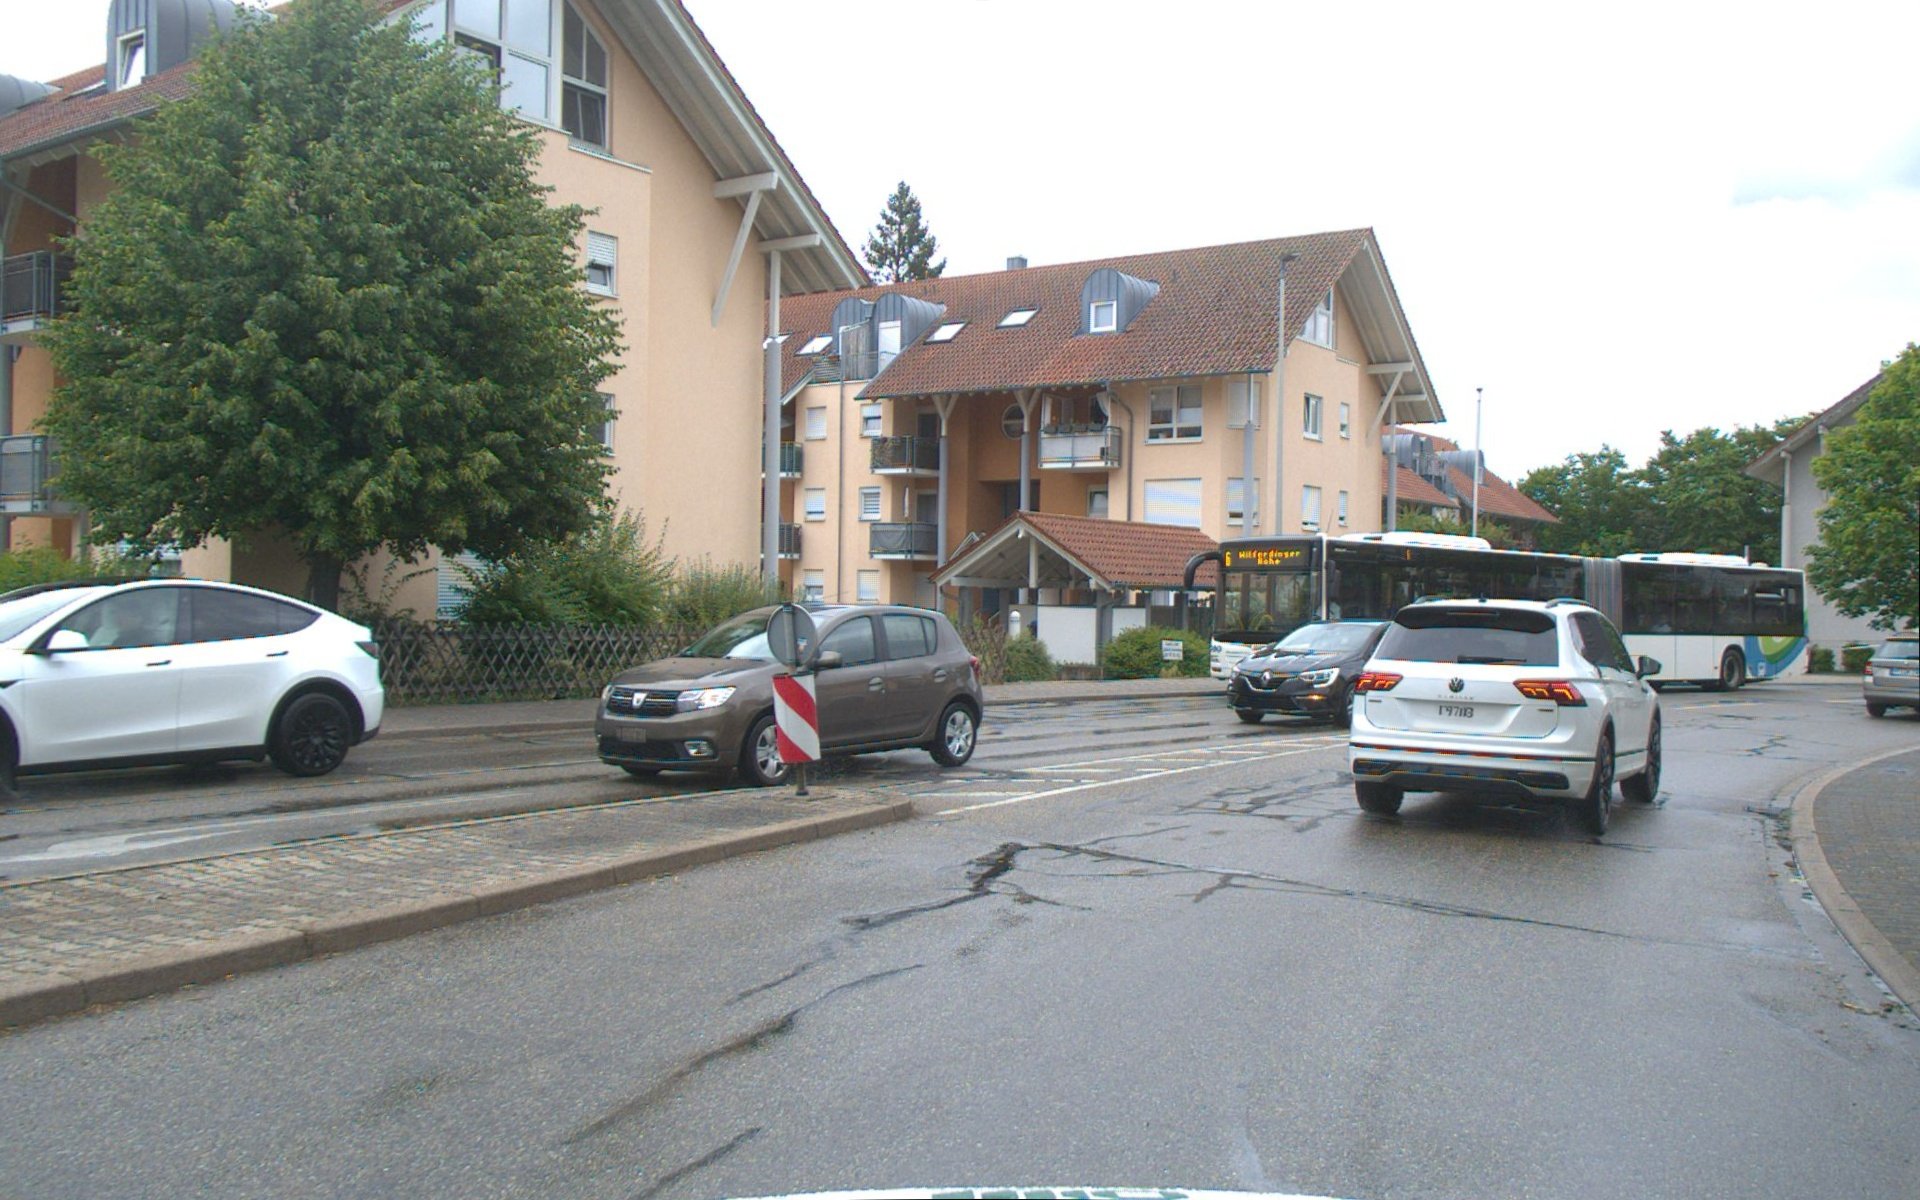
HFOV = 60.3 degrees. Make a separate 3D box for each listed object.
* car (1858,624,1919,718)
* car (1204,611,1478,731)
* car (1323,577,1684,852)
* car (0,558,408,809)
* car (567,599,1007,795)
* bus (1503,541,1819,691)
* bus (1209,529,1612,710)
[{"bbox_3d":[17.409,1.285,29.038,3.968,1.536,1.743,3,-1,-44],"label":"car"},{"bbox_3d":[5.471,0.943,23.461,1.924,1.546,4.145,-1,-1,44],"label":"car"},{"bbox_3d":[4.536,0.791,13.344,1.885,1.752,4.256,3,1,30],"label":"car"},{"bbox_3d":[-6.875,0.593,13.066,1.914,1.755,4.586,-1,0,34],"label":"car"},{"bbox_3d":[-1.423,0.786,14.931,1.793,1.513,3.921,-1,-1,37],"label":"car"},{"bbox_3d":[15.829,0.327,37.047,8.310,3.053,2.561,0,-1,-36],"label":"bus"},{"bbox_3d":[8.864,0.332,31.733,9.110,3.053,2.520,0,-1,-38],"label":"bus"}]
